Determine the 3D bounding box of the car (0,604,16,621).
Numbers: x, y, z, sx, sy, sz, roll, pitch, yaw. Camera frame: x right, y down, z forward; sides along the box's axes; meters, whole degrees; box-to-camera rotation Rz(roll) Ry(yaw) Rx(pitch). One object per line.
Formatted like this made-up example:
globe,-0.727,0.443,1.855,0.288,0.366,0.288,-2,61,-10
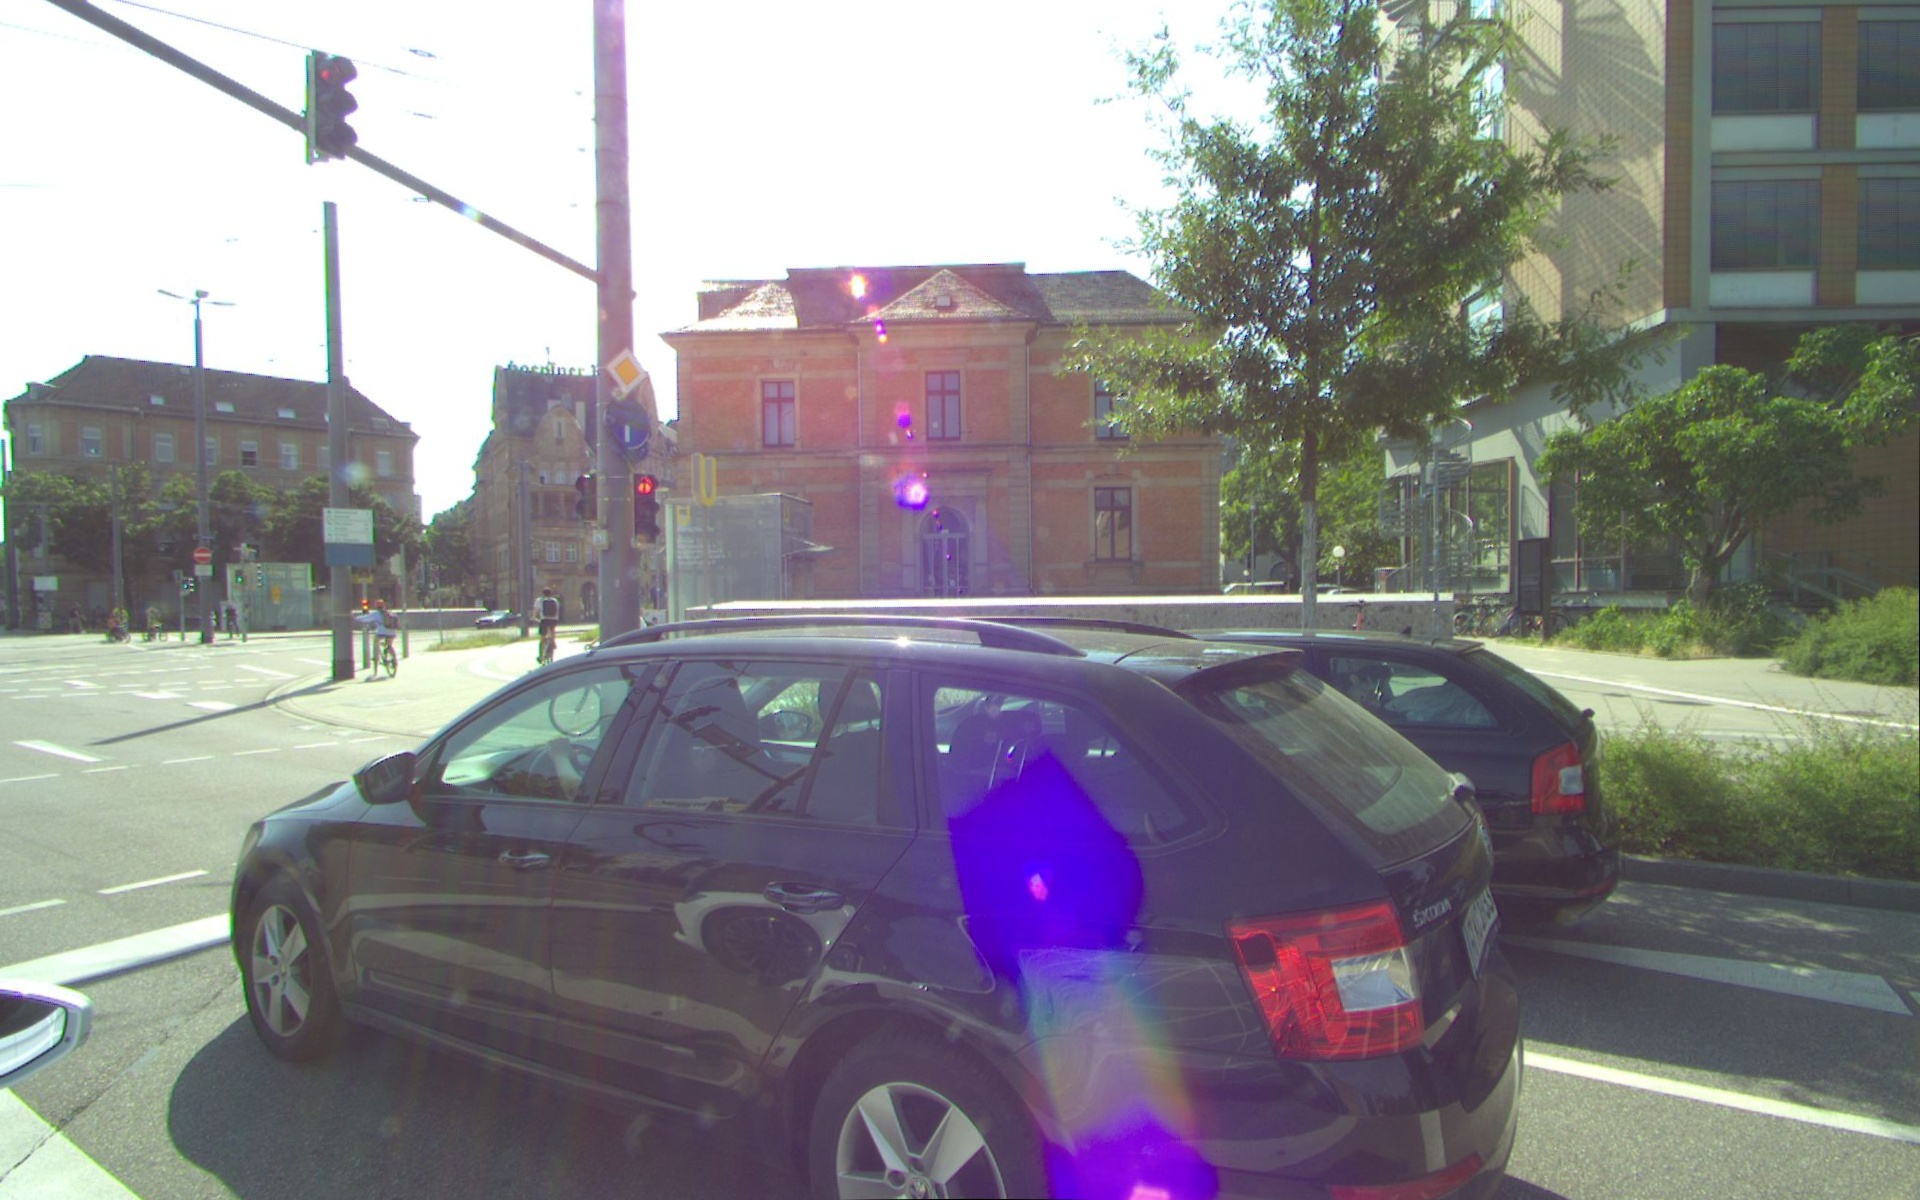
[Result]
car,-117.268,1.489,122.853,2.094,2.040,3.962,-1,0,-43

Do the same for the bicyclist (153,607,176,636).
bicyclist,-41.009,1.106,51.642,0.919,1.470,1.242,1,-1,-38

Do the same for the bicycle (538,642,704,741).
bicycle,-4.295,1.126,12.708,1.887,1.029,0.714,-3,2,-24

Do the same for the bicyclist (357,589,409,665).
bicyclist,-13.244,0.612,22.970,0.864,1.692,0.710,0,3,40

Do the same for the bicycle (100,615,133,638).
bicycle,-42.236,1.336,50.117,2.717,1.083,0.922,-2,-2,42

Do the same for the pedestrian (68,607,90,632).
pedestrian,-50.933,1.112,57.910,0.699,1.451,0.614,0,-1,-5

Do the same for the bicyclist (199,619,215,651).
bicyclist,-40.030,1.862,53.218,0.641,1.642,0.498,0,-1,38

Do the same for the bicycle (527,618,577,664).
bicycle,-9.580,0.961,23.454,0.707,1.028,2.009,1,-2,-33

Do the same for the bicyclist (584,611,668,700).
bicyclist,-4.252,0.683,12.723,0.901,1.043,0.714,-3,2,-24

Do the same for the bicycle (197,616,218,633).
bicycle,-40.024,1.317,53.229,1.567,0.877,0.498,0,-1,38

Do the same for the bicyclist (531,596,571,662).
bicyclist,-9.578,0.691,23.450,0.707,1.507,0.944,1,-2,-33

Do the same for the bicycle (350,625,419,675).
bicycle,-13.229,1.125,23.005,1.997,1.029,0.710,-1,3,41

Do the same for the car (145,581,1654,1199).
car,-0.665,0.763,3.279,4.710,1.454,1.628,-1,-1,31

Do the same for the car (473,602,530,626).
car,-32.769,1.005,71.622,1.608,1.604,3.997,-1,-1,12

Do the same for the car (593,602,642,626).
car,-19.231,0.767,56.341,1.639,1.331,3.452,-1,0,-1

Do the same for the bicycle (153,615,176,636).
bicycle,-41.015,1.303,51.654,0.919,1.083,2.819,1,-1,-38

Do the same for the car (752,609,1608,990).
car,1.034,0.787,5.690,4.332,1.448,1.698,0,0,30

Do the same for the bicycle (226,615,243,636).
bicycle,-39.152,1.363,54.061,0.660,1.083,2.447,1,-1,-35

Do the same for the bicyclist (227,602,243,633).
bicyclist,-39.192,0.938,54.122,0.660,1.645,0.777,1,0,-35

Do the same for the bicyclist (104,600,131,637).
bicyclist,-42.105,0.943,50.031,1.041,1.843,0.921,-1,-2,43
